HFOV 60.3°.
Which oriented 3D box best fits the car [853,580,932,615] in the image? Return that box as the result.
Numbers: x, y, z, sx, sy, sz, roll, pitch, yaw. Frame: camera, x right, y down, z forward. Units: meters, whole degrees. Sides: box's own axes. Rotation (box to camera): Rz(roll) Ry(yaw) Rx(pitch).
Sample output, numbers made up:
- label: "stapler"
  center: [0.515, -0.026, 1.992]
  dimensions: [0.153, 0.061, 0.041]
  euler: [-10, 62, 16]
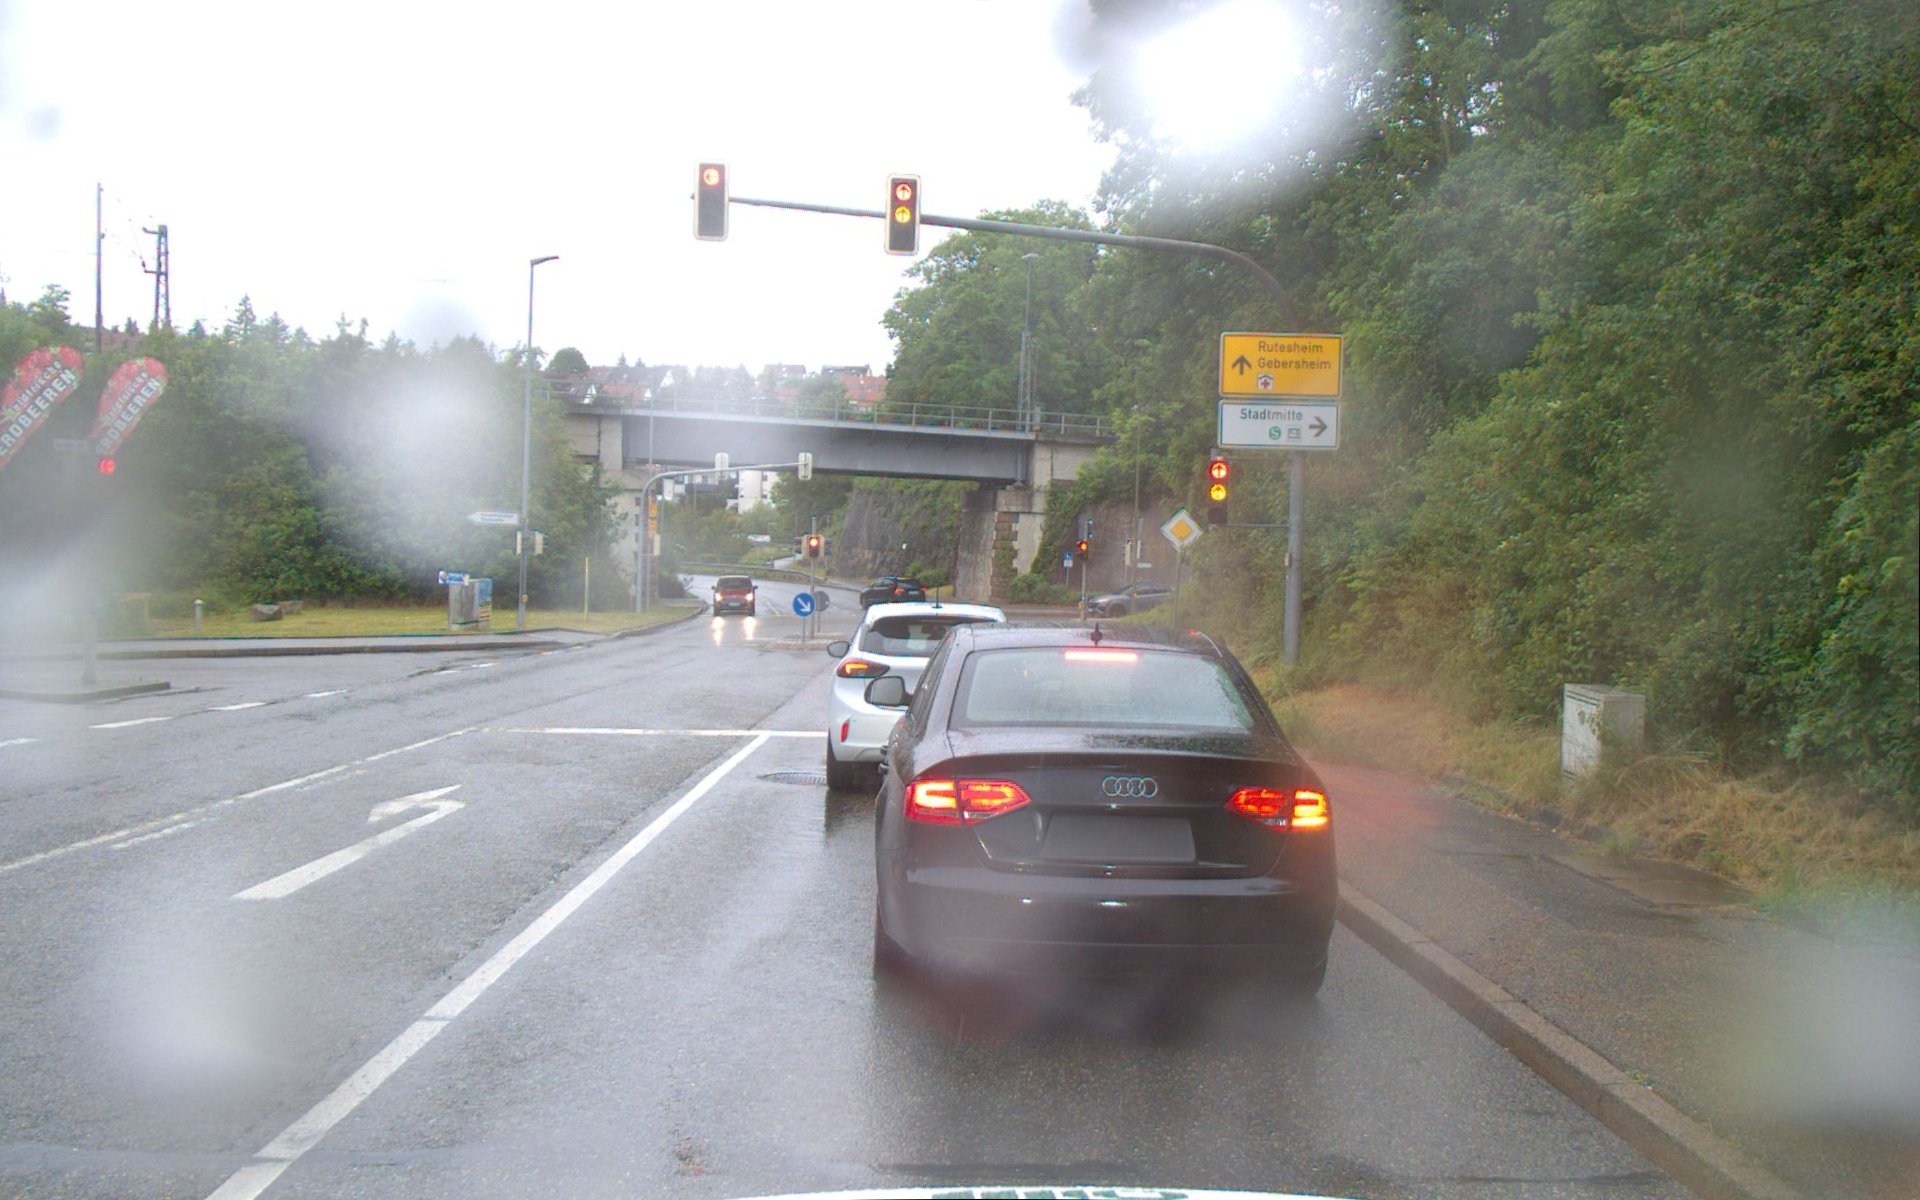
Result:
- label: "car"
  center: [-3.259, -0.121, 79.197]
  dimensions: [1.977, 1.624, 3.950]
  euler: [-1, 1, -35]

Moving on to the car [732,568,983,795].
- label: "car"
  center: [-0.771, 0.619, 13.931]
  dimensions: [1.786, 1.613, 3.999]
  euler: [1, -1, -1]

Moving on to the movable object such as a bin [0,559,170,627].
- label: "movable object such as a bin"
  center: [-23.970, -0.152, 42.846]
  dimensions: [2.699, 1.656, 5.752]
  euler: [0, -1, 39]

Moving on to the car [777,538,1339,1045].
- label: "car"
  center: [0.294, 0.661, 7.423]
  dimensions: [1.832, 1.645, 3.999]
  euler: [1, -1, -1]

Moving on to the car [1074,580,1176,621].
- label: "car"
  center: [6.797, -0.002, 68.407]
  dimensions: [3.910, 1.495, 1.643]
  euler: [3, 0, -6]

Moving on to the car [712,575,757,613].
- label: "car"
  center: [-10.169, -0.288, 74.749]
  dimensions: [1.956, 1.657, 3.993]
  euler: [0, 0, -8]
